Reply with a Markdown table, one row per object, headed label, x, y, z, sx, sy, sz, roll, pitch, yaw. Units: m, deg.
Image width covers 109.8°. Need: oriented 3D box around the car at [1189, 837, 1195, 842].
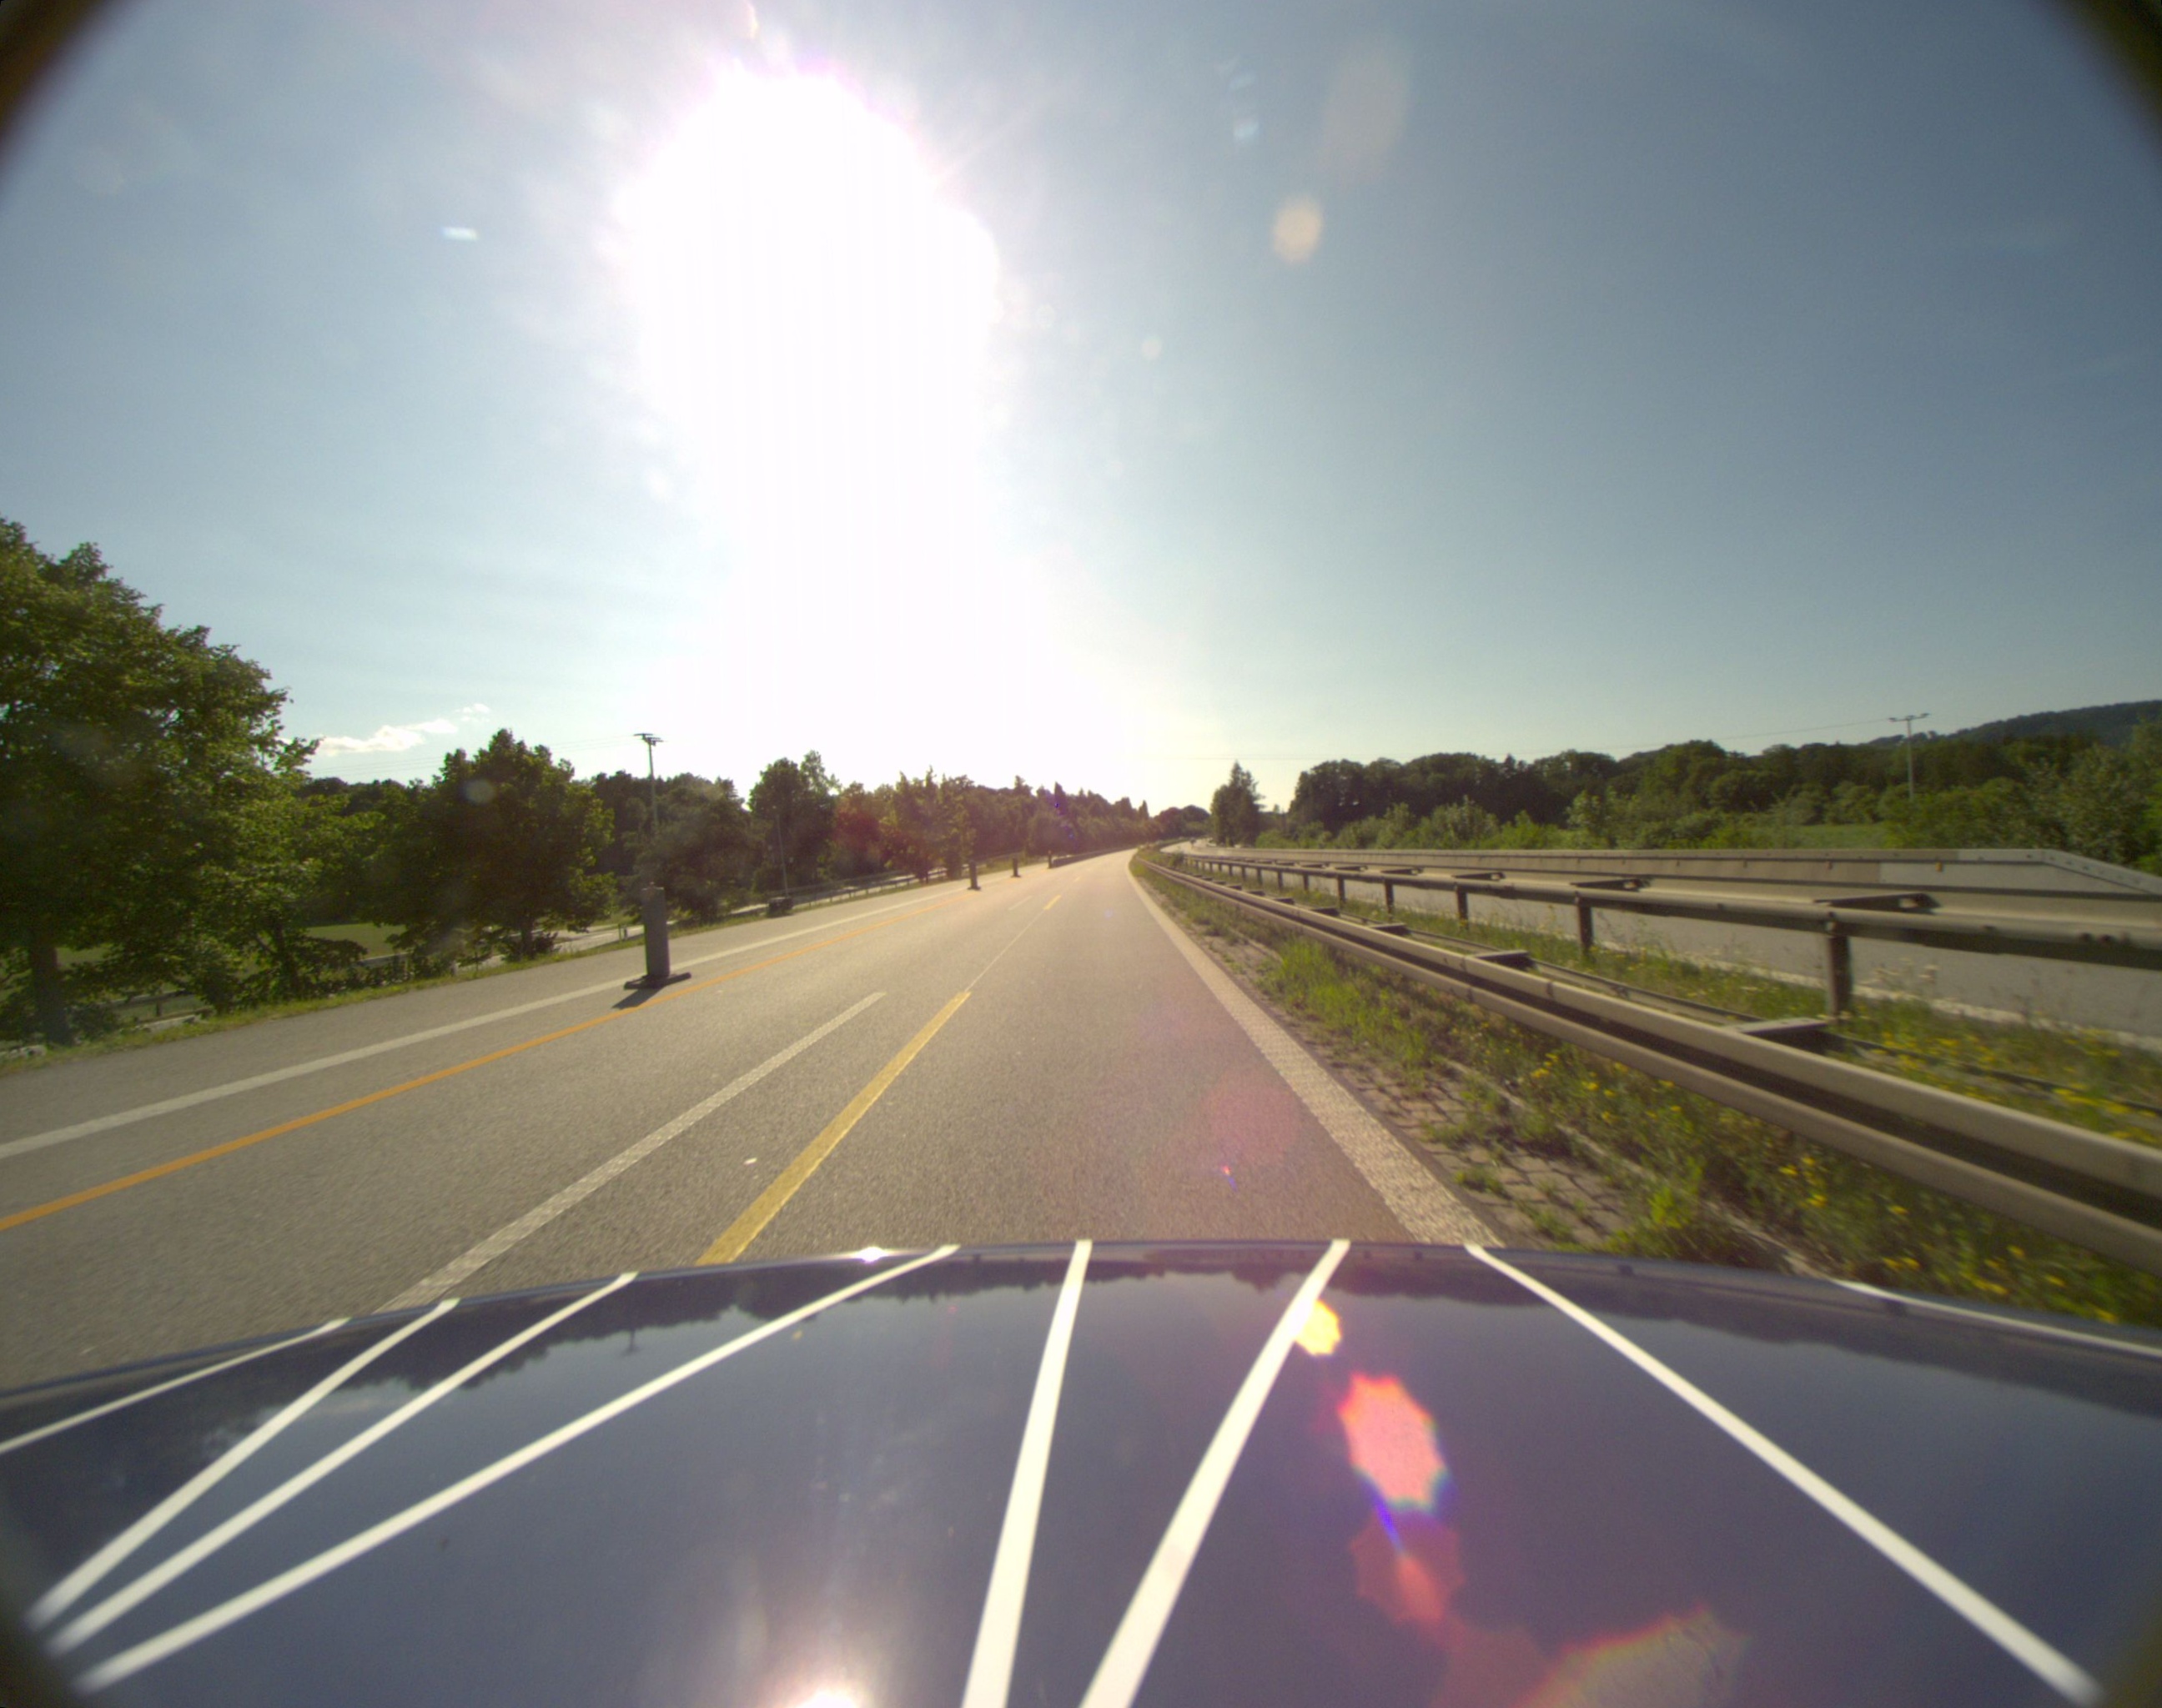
| label | x | y | z | sx | sy | sz | roll | pitch | yaw |
| --- | --- | --- | --- | --- | --- | --- | --- | --- | --- |
| car | 36.636 | -4.662 | 250.400 | 1.763 | 1.503 | 4.537 | -2 | 2 | 11 |
